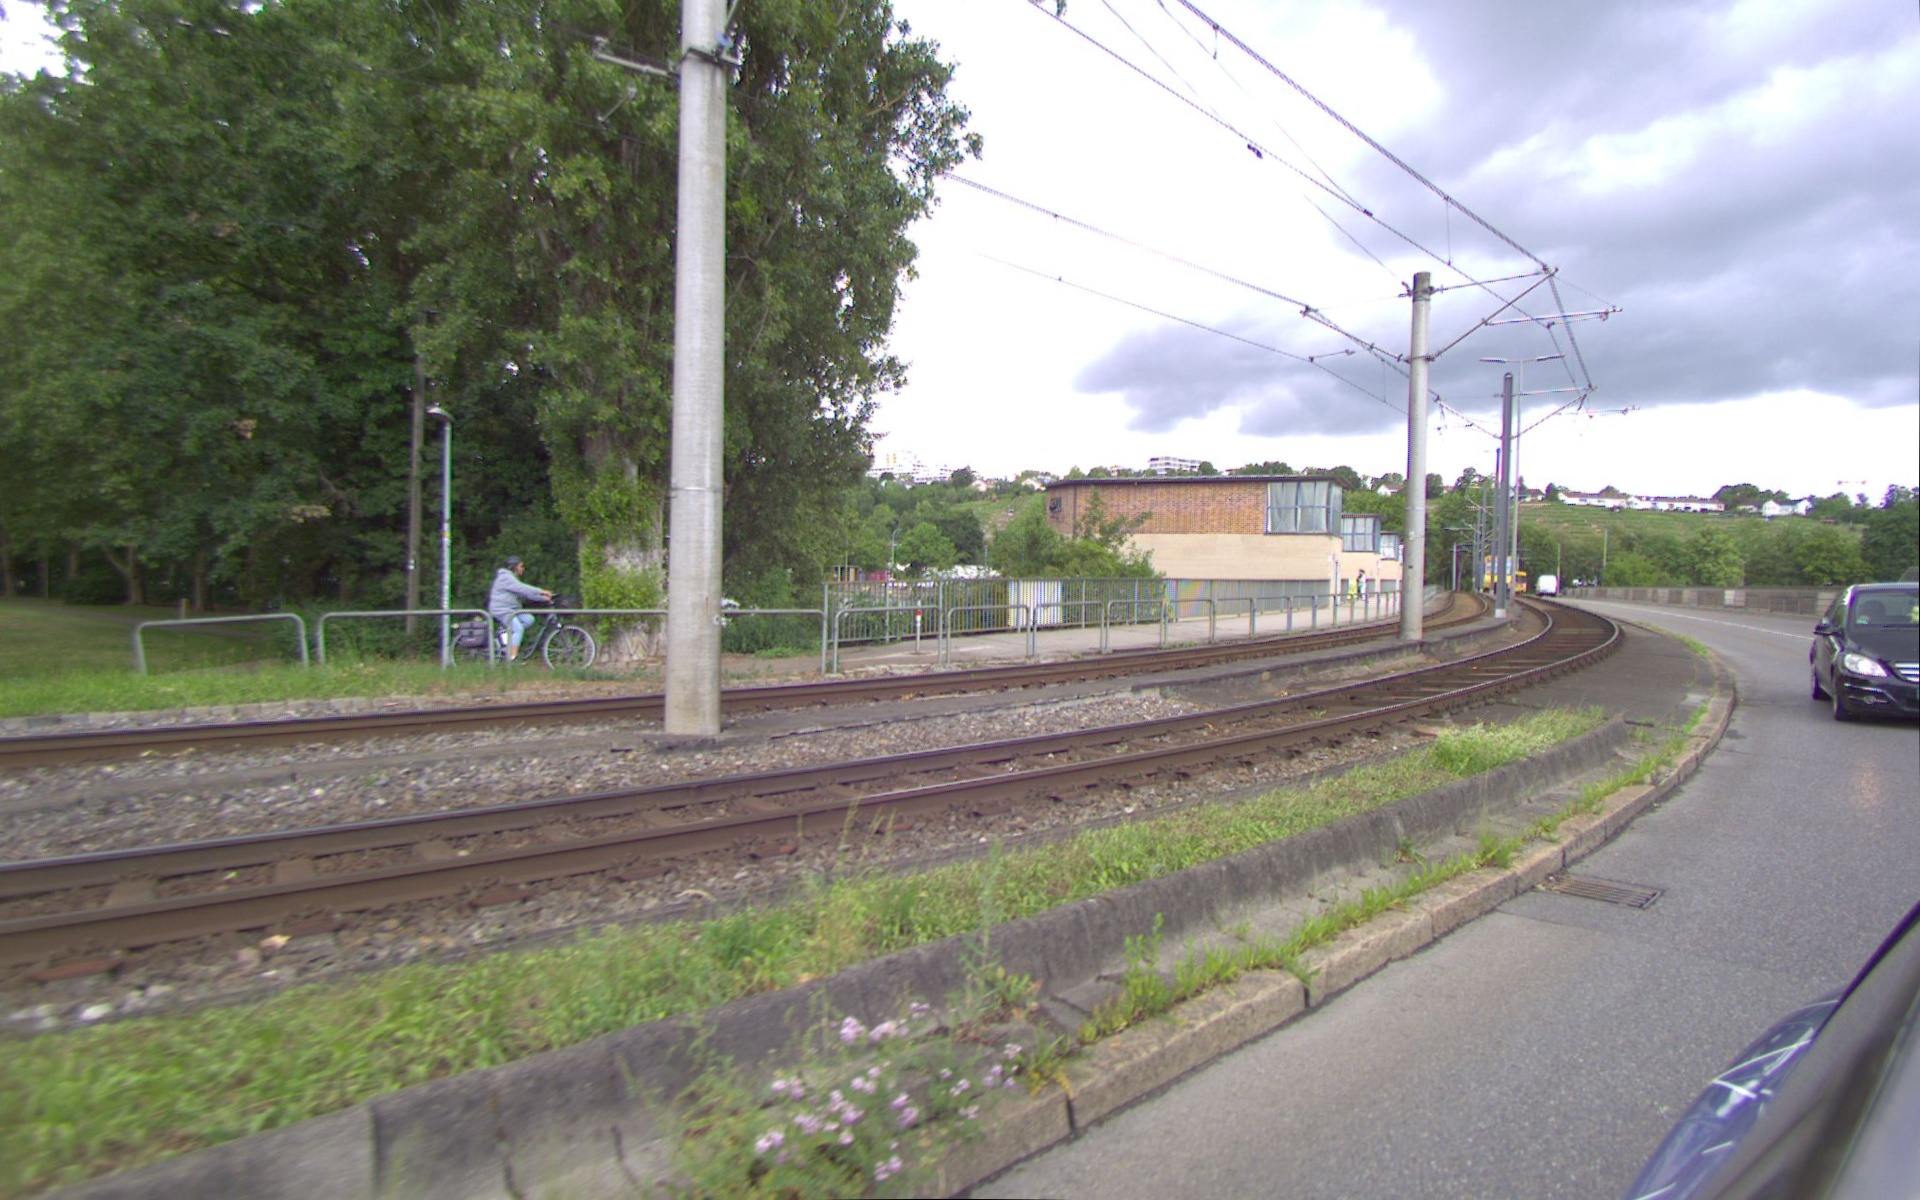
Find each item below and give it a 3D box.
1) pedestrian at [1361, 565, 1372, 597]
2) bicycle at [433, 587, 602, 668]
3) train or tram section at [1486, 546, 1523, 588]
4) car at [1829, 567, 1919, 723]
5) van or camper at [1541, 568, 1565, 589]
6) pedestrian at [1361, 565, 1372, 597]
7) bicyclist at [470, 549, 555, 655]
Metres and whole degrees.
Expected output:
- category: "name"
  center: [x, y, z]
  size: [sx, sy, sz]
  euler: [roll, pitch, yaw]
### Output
- category: "pedestrian"
  center: [21.953, -1.026, 54.649]
  size: [0.506, 1.686, 0.349]
  euler: [1, 1, 23]
- category: "bicycle"
  center: [-5.887, 0.363, 13.531]
  size: [2.038, 1.063, 0.428]
  euler: [0, 0, -6]
- category: "train or tram section"
  center: [53.506, -3.208, 99.376]
  size: [3.006, 3.967, 9.348]
  euler: [2, 2, 29]
- category: "car"
  center: [11.564, 0.440, 12.008]
  size: [1.854, 1.642, 3.941]
  euler: [-1, 0, 41]
- category: "van or camper"
  center: [74.184, -2.695, 126.595]
  size: [2.135, 2.506, 4.669]
  euler: [0, 1, 26]
- category: "pedestrian"
  center: [21.791, -1.025, 54.259]
  size: [0.506, 1.686, 0.349]
  euler: [1, 1, 23]
- category: "bicyclist"
  center: [-5.957, 0.024, 13.515]
  size: [0.892, 1.377, 0.596]
  euler: [0, 0, -6]
